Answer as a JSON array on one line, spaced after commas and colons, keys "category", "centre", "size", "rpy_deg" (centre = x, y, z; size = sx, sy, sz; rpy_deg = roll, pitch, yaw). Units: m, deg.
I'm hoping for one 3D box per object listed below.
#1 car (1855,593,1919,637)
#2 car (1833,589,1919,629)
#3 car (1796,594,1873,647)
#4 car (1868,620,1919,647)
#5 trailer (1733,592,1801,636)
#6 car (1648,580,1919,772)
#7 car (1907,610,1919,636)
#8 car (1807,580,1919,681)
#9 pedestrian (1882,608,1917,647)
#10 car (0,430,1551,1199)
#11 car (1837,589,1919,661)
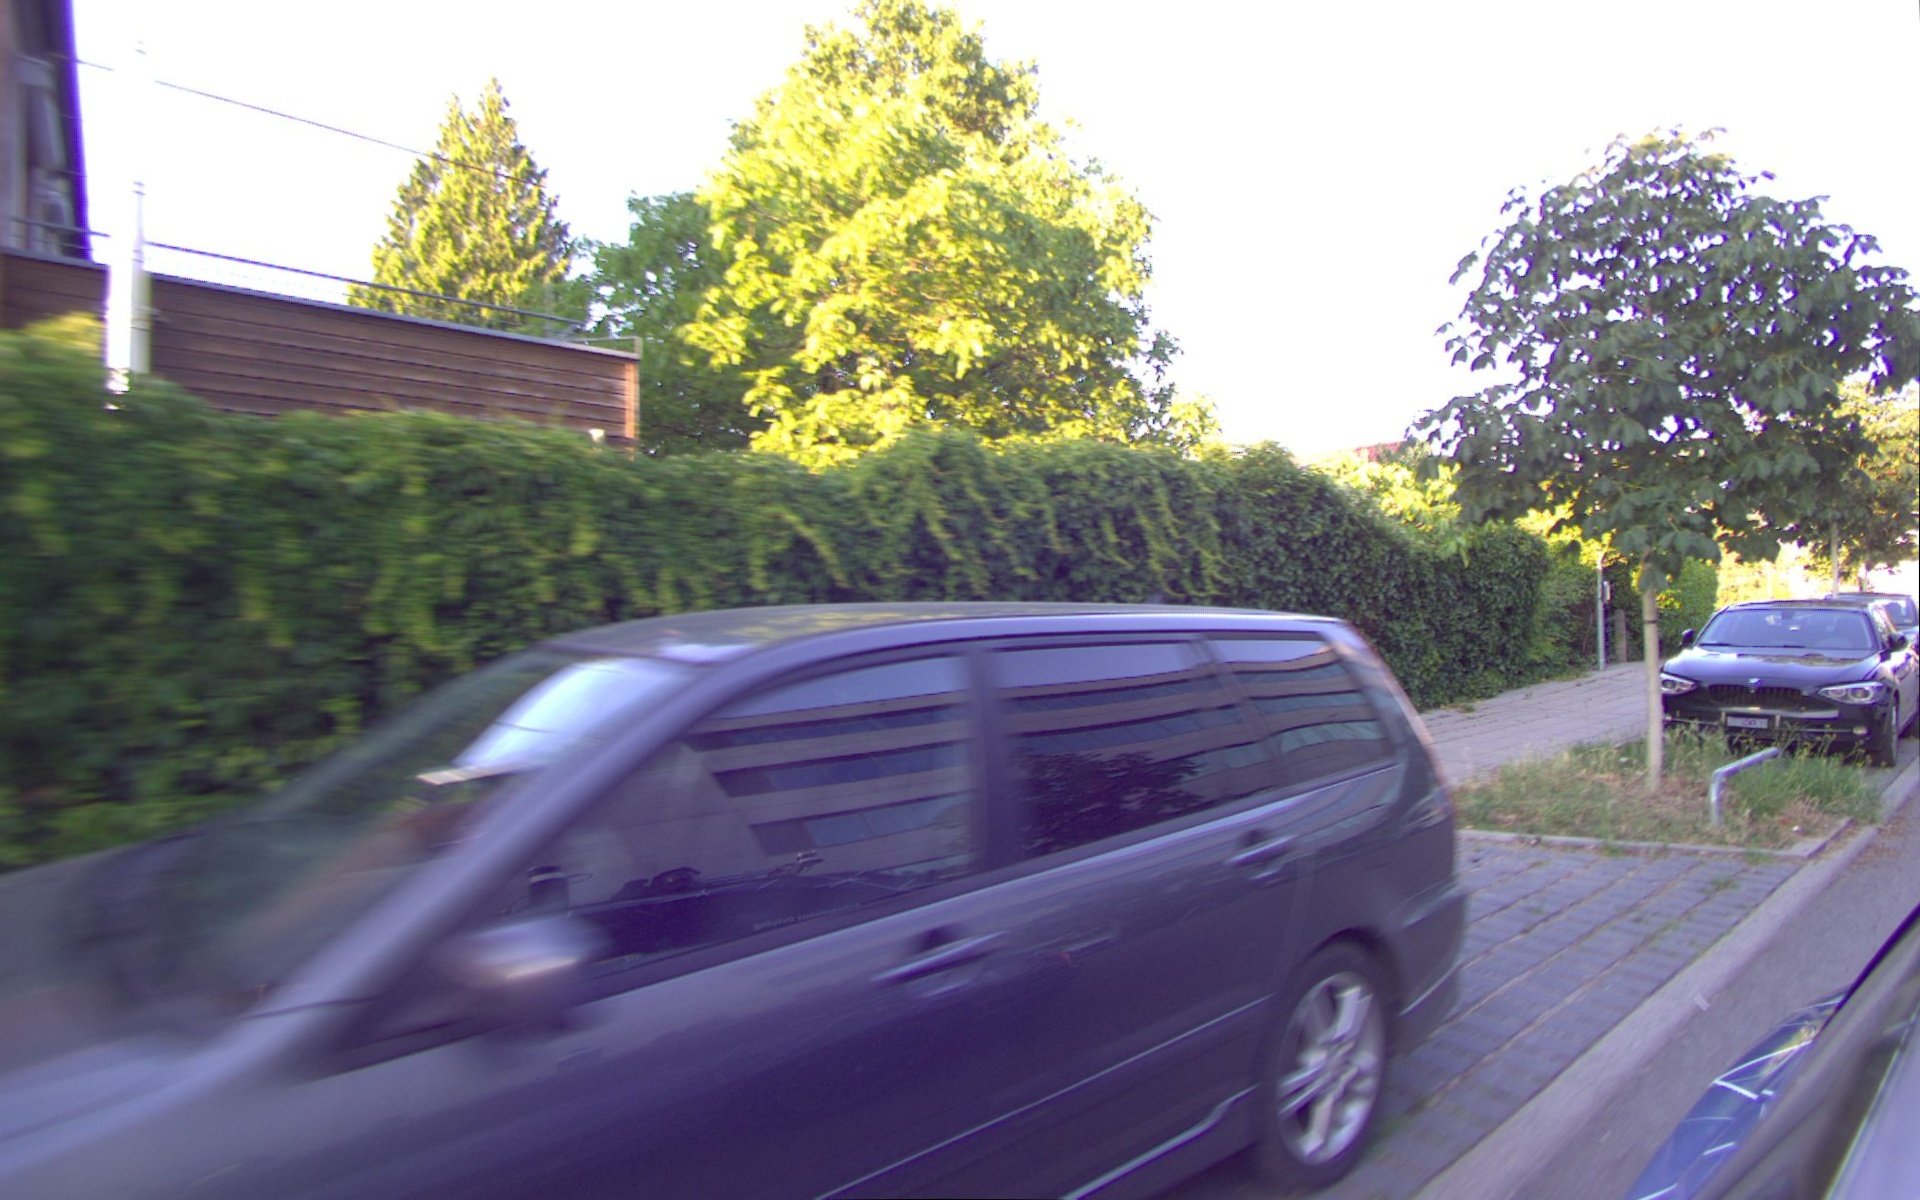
[{"category": "car", "centre": [59.180, 0.835, 62.083], "size": [5.854, 2.567, 2.386], "rpy_deg": [-4, -3, 30]}, {"category": "car", "centre": [68.413, 0.659, 74.491], "size": [5.777, 2.749, 2.034], "rpy_deg": [-4, -3, 23]}, {"category": "car", "centre": [36.614, 0.878, 42.478], "size": [2.060, 2.122, 4.805], "rpy_deg": [-1, -2, 37]}, {"category": "car", "centre": [60.428, 2.077, 63.958], "size": [4.100, 1.611, 1.731], "rpy_deg": [-4, -2, 28]}, {"category": "trailer", "centre": [43.649, 0.788, 54.853], "size": [2.053, 2.240, 5.166], "rpy_deg": [-1, -2, 30]}, {"category": "car", "centre": [8.489, 0.611, 10.019], "size": [4.118, 1.529, 1.696], "rpy_deg": [0, -1, -40]}, {"category": "car", "centre": [57.905, 1.273, 58.903], "size": [3.603, 1.539, 1.689], "rpy_deg": [-3, -3, 26]}, {"category": "car", "centre": [15.413, 0.471, 16.907], "size": [3.438, 1.529, 1.578], "rpy_deg": [0, -1, -44]}, {"category": "pedestrian", "centre": [45.668, 1.353, 49.204], "size": [0.883, 1.874, 0.857], "rpy_deg": [1, -2, -10]}, {"category": "car", "centre": [-0.540, 0.644, 2.369], "size": [4.513, 1.600, 1.728], "rpy_deg": [0, -1, -37]}, {"category": "car", "centre": [22.129, 0.598, 24.111], "size": [1.710, 1.570, 4.477], "rpy_deg": [-1, -2, 43]}]
